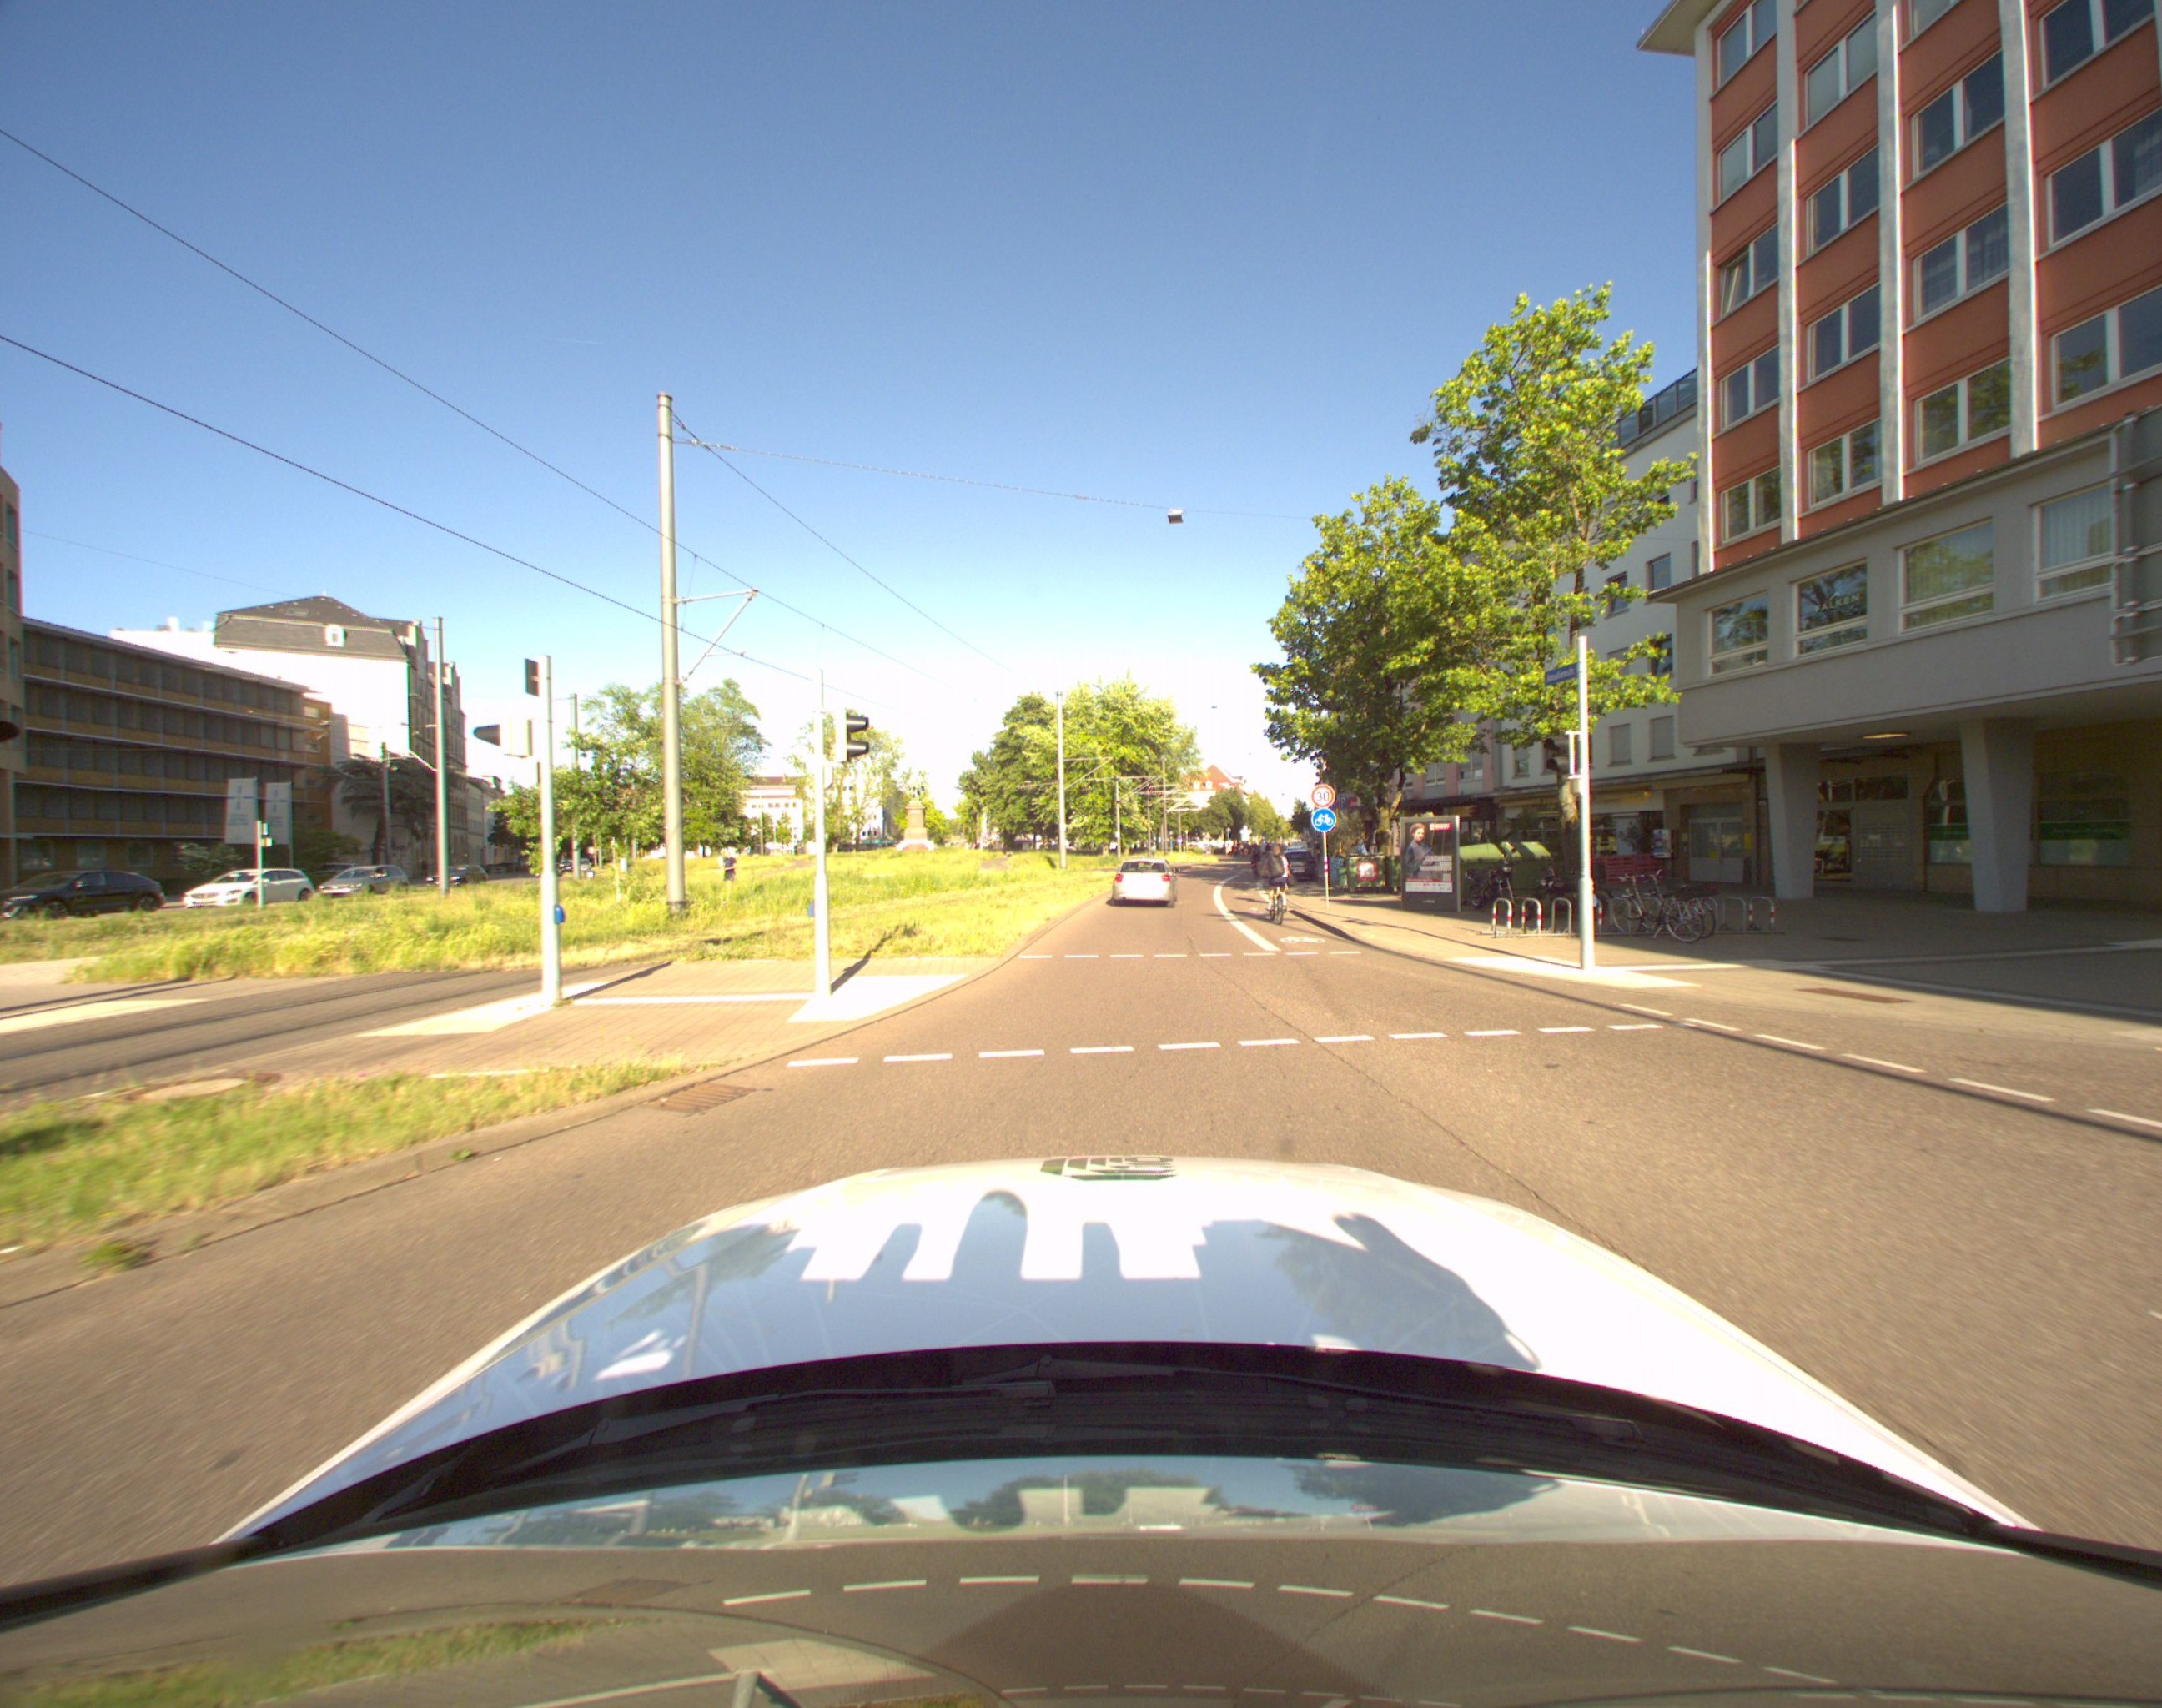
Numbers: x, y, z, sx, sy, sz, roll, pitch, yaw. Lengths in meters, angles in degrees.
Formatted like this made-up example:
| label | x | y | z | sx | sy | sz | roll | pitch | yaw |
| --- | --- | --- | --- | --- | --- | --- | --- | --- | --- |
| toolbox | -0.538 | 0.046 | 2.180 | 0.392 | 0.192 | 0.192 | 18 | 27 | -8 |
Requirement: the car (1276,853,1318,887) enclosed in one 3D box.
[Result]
| label | x | y | z | sx | sy | sz | roll | pitch | yaw |
| --- | --- | --- | --- | --- | --- | --- | --- | --- | --- |
| car | 10.166 | 0.734 | 38.573 | 1.753 | 1.438 | 4.600 | -2 | 0 | 14 |

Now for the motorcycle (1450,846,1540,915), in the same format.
| label | x | y | z | sx | sy | sz | roll | pitch | yaw |
| --- | --- | --- | --- | --- | --- | --- | --- | --- | --- |
| motorcycle | 9.826 | 0.588 | 19.474 | 0.800 | 1.539 | 2.543 | 0 | 0 | -2 |

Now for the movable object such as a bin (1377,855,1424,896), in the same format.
| label | x | y | z | sx | sy | sz | roll | pitch | yaw |
| --- | --- | --- | --- | --- | --- | --- | --- | --- | --- |
| movable object such as a bin | 10.797 | 0.707 | 27.556 | 1.171 | 1.356 | 0.925 | 1 | -1 | -7 |

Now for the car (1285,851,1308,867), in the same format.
| label | x | y | z | sx | sy | sz | roll | pitch | yaw |
| --- | --- | --- | --- | --- | --- | --- | --- | --- | --- |
| car | 19.468 | 0.466 | 73.559 | 1.760 | 1.454 | 4.752 | 0 | -1 | 18 |

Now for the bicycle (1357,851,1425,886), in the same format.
| label | x | y | z | sx | sy | sz | roll | pitch | yaw |
| --- | --- | --- | --- | --- | --- | --- | --- | --- | --- |
| bicycle | 11.315 | 0.526 | 29.768 | 2.141 | 1.251 | 0.905 | -1 | 0 | 38 |

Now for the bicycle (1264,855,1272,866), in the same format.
| label | x | y | z | sx | sy | sz | roll | pitch | yaw |
| --- | --- | --- | --- | --- | --- | --- | --- | --- | --- |
| bicycle | 17.213 | 0.582 | 74.824 | 0.648 | 0.958 | 2.708 | 0 | -1 | 14 |

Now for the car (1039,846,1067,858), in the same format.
| label | x | y | z | sx | sy | sz | roll | pitch | yaw |
| --- | --- | --- | --- | --- | --- | --- | --- | --- | --- |
| car | -5.550 | -0.398 | 159.582 | 5.332 | 2.314 | 1.995 | 1 | -1 | -8 |

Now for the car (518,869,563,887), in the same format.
| label | x | y | z | sx | sy | sz | roll | pitch | yaw |
| --- | --- | --- | --- | --- | --- | --- | --- | --- | --- |
| car | -49.360 | 2.238 | 74.508 | 1.996 | 1.513 | 4.262 | 0 | -3 | -13 |

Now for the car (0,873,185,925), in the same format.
| label | x | y | z | sx | sy | sz | roll | pitch | yaw |
| --- | --- | --- | --- | --- | --- | --- | --- | --- | --- |
| car | -32.527 | 1.371 | 26.259 | 1.991 | 1.447 | 5.009 | 1 | -1 | -6 |

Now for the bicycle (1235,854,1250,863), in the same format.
| label | x | y | z | sx | sy | sz | roll | pitch | yaw |
| --- | --- | --- | --- | --- | --- | --- | --- | --- | --- |
| bicycle | 18.648 | 0.512 | 94.147 | 0.810 | 1.069 | 2.573 | 1 | -1 | -11 |

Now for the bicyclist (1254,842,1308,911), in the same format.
| label | x | y | z | sx | sy | sz | roll | pitch | yaw |
| --- | --- | --- | --- | --- | --- | --- | --- | --- | --- |
| bicyclist | 4.491 | 0.494 | 18.321 | 1.033 | 1.484 | 0.990 | 1 | -1 | 5 |

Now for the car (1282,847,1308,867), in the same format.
| label | x | y | z | sx | sy | sz | roll | pitch | yaw |
| --- | --- | --- | --- | --- | --- | --- | --- | --- | --- |
| car | 16.700 | 0.238 | 63.452 | 1.658 | 1.518 | 4.218 | 0 | -1 | 18 |

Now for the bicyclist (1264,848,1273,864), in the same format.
| label | x | y | z | sx | sy | sz | roll | pitch | yaw |
| --- | --- | --- | --- | --- | --- | --- | --- | --- | --- |
| bicyclist | 17.198 | 0.150 | 74.783 | 0.780 | 1.453 | 1.100 | 0 | -1 | 14 |

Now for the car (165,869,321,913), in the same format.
| label | x | y | z | sx | sy | sz | roll | pitch | yaw |
| --- | --- | --- | --- | --- | --- | --- | --- | --- | --- |
| car | -33.637 | 1.429 | 32.917 | 1.994 | 1.596 | 4.640 | 1 | -1 | -10 |

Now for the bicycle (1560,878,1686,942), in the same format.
| label | x | y | z | sx | sy | sz | roll | pitch | yaw |
| --- | --- | --- | --- | --- | --- | --- | --- | --- | --- |
| bicycle | 9.392 | 0.934 | 14.225 | 0.476 | 0.984 | 2.111 | 1 | -1 | -11 |

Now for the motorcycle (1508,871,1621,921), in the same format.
| label | x | y | z | sx | sy | sz | roll | pitch | yaw |
| --- | --- | --- | --- | --- | --- | --- | --- | --- | --- |
| motorcycle | 10.387 | 0.887 | 17.518 | 2.094 | 1.021 | 0.760 | 0 | 0 | -8 |

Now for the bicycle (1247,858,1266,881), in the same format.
| label | x | y | z | sx | sy | sz | roll | pitch | yaw |
| --- | --- | --- | --- | --- | --- | --- | --- | --- | --- |
| bicycle | 9.058 | 0.796 | 42.098 | 0.815 | 1.185 | 1.969 | 1 | -1 | 8 |

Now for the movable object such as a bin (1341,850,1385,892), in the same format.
| label | x | y | z | sx | sy | sz | roll | pitch | yaw |
| --- | --- | --- | --- | --- | --- | --- | --- | --- | --- |
| movable object such as a bin | 9.567 | 0.558 | 27.653 | 1.272 | 1.391 | 0.924 | 1 | -1 | 9 |

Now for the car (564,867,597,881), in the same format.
| label | x | y | z | sx | sy | sz | roll | pitch | yaw |
| --- | --- | --- | --- | --- | --- | --- | --- | --- | --- |
| car | -55.615 | 2.184 | 90.611 | 1.999 | 1.354 | 4.739 | 0 | 1 | -18 |

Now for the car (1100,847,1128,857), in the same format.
| label | x | y | z | sx | sy | sz | roll | pitch | yaw |
| --- | --- | --- | --- | --- | --- | --- | --- | --- | --- |
| car | 6.756 | -0.340 | 166.509 | 5.577 | 2.014 | 1.811 | 1 | -1 | -11 |

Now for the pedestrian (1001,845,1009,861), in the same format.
| label | x | y | z | sx | sy | sz | roll | pitch | yaw |
| --- | --- | --- | --- | --- | --- | --- | --- | --- | --- |
| pedestrian | -7.671 | -0.073 | 82.151 | 0.678 | 1.616 | 0.549 | 1 | -1 | -37 |

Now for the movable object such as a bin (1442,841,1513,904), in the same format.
| label | x | y | z | sx | sy | sz | roll | pitch | yaw |
| --- | --- | --- | --- | --- | --- | --- | --- | --- | --- |
| movable object such as a bin | 10.688 | 0.487 | 21.988 | 1.380 | 1.640 | 1.005 | 0 | -1 | -9 |

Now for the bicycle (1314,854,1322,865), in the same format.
| label | x | y | z | sx | sy | sz | roll | pitch | yaw |
| --- | --- | --- | --- | --- | --- | --- | --- | --- | --- |
| bicycle | 19.913 | 0.493 | 68.394 | 0.530 | 0.891 | 2.079 | 0 | -1 | 17 |

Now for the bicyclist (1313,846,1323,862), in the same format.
| label | x | y | z | sx | sy | sz | roll | pitch | yaw |
| --- | --- | --- | --- | --- | --- | --- | --- | --- | --- |
| bicyclist | 19.943 | 0.014 | 68.418 | 0.752 | 1.326 | 0.998 | 0 | -1 | 17 |

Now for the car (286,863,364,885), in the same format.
| label | x | y | z | sx | sy | sz | roll | pitch | yaw |
| --- | --- | --- | --- | --- | --- | --- | --- | --- | --- |
| car | -56.136 | 1.493 | 60.574 | 4.019 | 1.581 | 1.977 | 1 | -1 | -38 |

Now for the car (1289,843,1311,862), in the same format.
| label | x | y | z | sx | sy | sz | roll | pitch | yaw |
| --- | --- | --- | --- | --- | --- | --- | --- | --- | --- |
| car | 21.479 | -0.120 | 79.854 | 1.979 | 1.813 | 4.327 | 0 | -1 | 15 |

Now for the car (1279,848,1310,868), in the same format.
| label | x | y | z | sx | sy | sz | roll | pitch | yaw |
| --- | --- | --- | --- | --- | --- | --- | --- | --- | --- |
| car | 15.453 | 0.299 | 58.799 | 1.836 | 1.344 | 4.621 | 0 | -1 | 18 |

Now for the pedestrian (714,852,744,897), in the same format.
| label | x | y | z | sx | sy | sz | roll | pitch | yaw |
| --- | --- | --- | --- | --- | --- | --- | --- | --- | --- |
| pedestrian | -13.404 | 0.769 | 31.037 | 0.728 | 1.671 | 0.748 | -1 | 0 | 17 |

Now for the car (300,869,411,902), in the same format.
| label | x | y | z | sx | sy | sz | roll | pitch | yaw |
| --- | --- | --- | --- | --- | --- | --- | --- | --- | --- |
| car | -34.525 | 1.483 | 38.936 | 1.995 | 1.427 | 4.490 | 1 | -1 | -13 |

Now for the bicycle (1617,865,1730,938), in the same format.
| label | x | y | z | sx | sy | sz | roll | pitch | yaw |
| --- | --- | --- | --- | --- | --- | --- | --- | --- | --- |
| bicycle | 10.874 | 0.831 | 15.018 | 0.532 | 1.244 | 1.841 | 1 | -1 | -10 |

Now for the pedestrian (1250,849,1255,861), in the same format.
| label | x | y | z | sx | sy | sz | roll | pitch | yaw |
| --- | --- | --- | --- | --- | --- | --- | --- | --- | --- |
| pedestrian | 23.473 | 0.121 | 111.370 | 0.631 | 1.672 | 0.695 | 0 | -1 | 16 |

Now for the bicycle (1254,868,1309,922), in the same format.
| label | x | y | z | sx | sy | sz | roll | pitch | yaw |
| --- | --- | --- | --- | --- | --- | --- | --- | --- | --- |
| bicycle | 4.500 | 0.887 | 18.402 | 0.881 | 1.136 | 2.232 | 1 | -1 | 5 |

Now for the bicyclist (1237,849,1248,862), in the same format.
| label | x | y | z | sx | sy | sz | roll | pitch | yaw |
| --- | --- | --- | --- | --- | --- | --- | --- | --- | --- |
| bicyclist | 18.648 | 0.173 | 94.117 | 0.929 | 1.507 | 0.822 | 1 | -1 | -12 |

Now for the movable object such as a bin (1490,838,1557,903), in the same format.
| label | x | y | z | sx | sy | sz | roll | pitch | yaw |
| --- | --- | --- | --- | --- | --- | --- | --- | --- | --- |
| movable object such as a bin | 12.011 | 0.449 | 22.116 | 1.255 | 1.709 | 0.942 | -1 | -1 | -9 |

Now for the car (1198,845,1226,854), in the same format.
| label | x | y | z | sx | sy | sz | roll | pitch | yaw |
| --- | --- | --- | --- | --- | --- | --- | --- | --- | --- |
| car | 26.475 | -0.869 | 164.976 | 5.265 | 1.800 | 2.155 | 1 | -1 | -11 |

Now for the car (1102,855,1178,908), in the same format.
| label | x | y | z | sx | sy | sz | roll | pitch | yaw |
| --- | --- | --- | --- | --- | --- | --- | --- | --- | --- |
| car | 1.865 | 0.762 | 24.316 | 1.982 | 1.423 | 4.205 | 1 | -1 | 8 |

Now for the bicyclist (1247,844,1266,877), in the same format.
| label | x | y | z | sx | sy | sz | roll | pitch | yaw |
| --- | --- | --- | --- | --- | --- | --- | --- | --- | --- |
| bicyclist | 9.058 | 0.335 | 42.072 | 0.934 | 1.633 | 0.937 | 1 | -1 | 8 |

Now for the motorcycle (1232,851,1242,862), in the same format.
| label | x | y | z | sx | sy | sz | roll | pitch | yaw |
| --- | --- | --- | --- | --- | --- | --- | --- | --- | --- |
| motorcycle | 20.139 | 0.307 | 104.905 | 0.745 | 1.374 | 1.756 | 1 | -1 | -7 |

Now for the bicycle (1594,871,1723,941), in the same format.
| label | x | y | z | sx | sy | sz | roll | pitch | yaw |
| --- | --- | --- | --- | --- | --- | --- | --- | --- | --- |
| bicycle | 10.093 | 0.864 | 14.336 | 0.476 | 1.117 | 2.111 | 1 | -1 | -11 |
